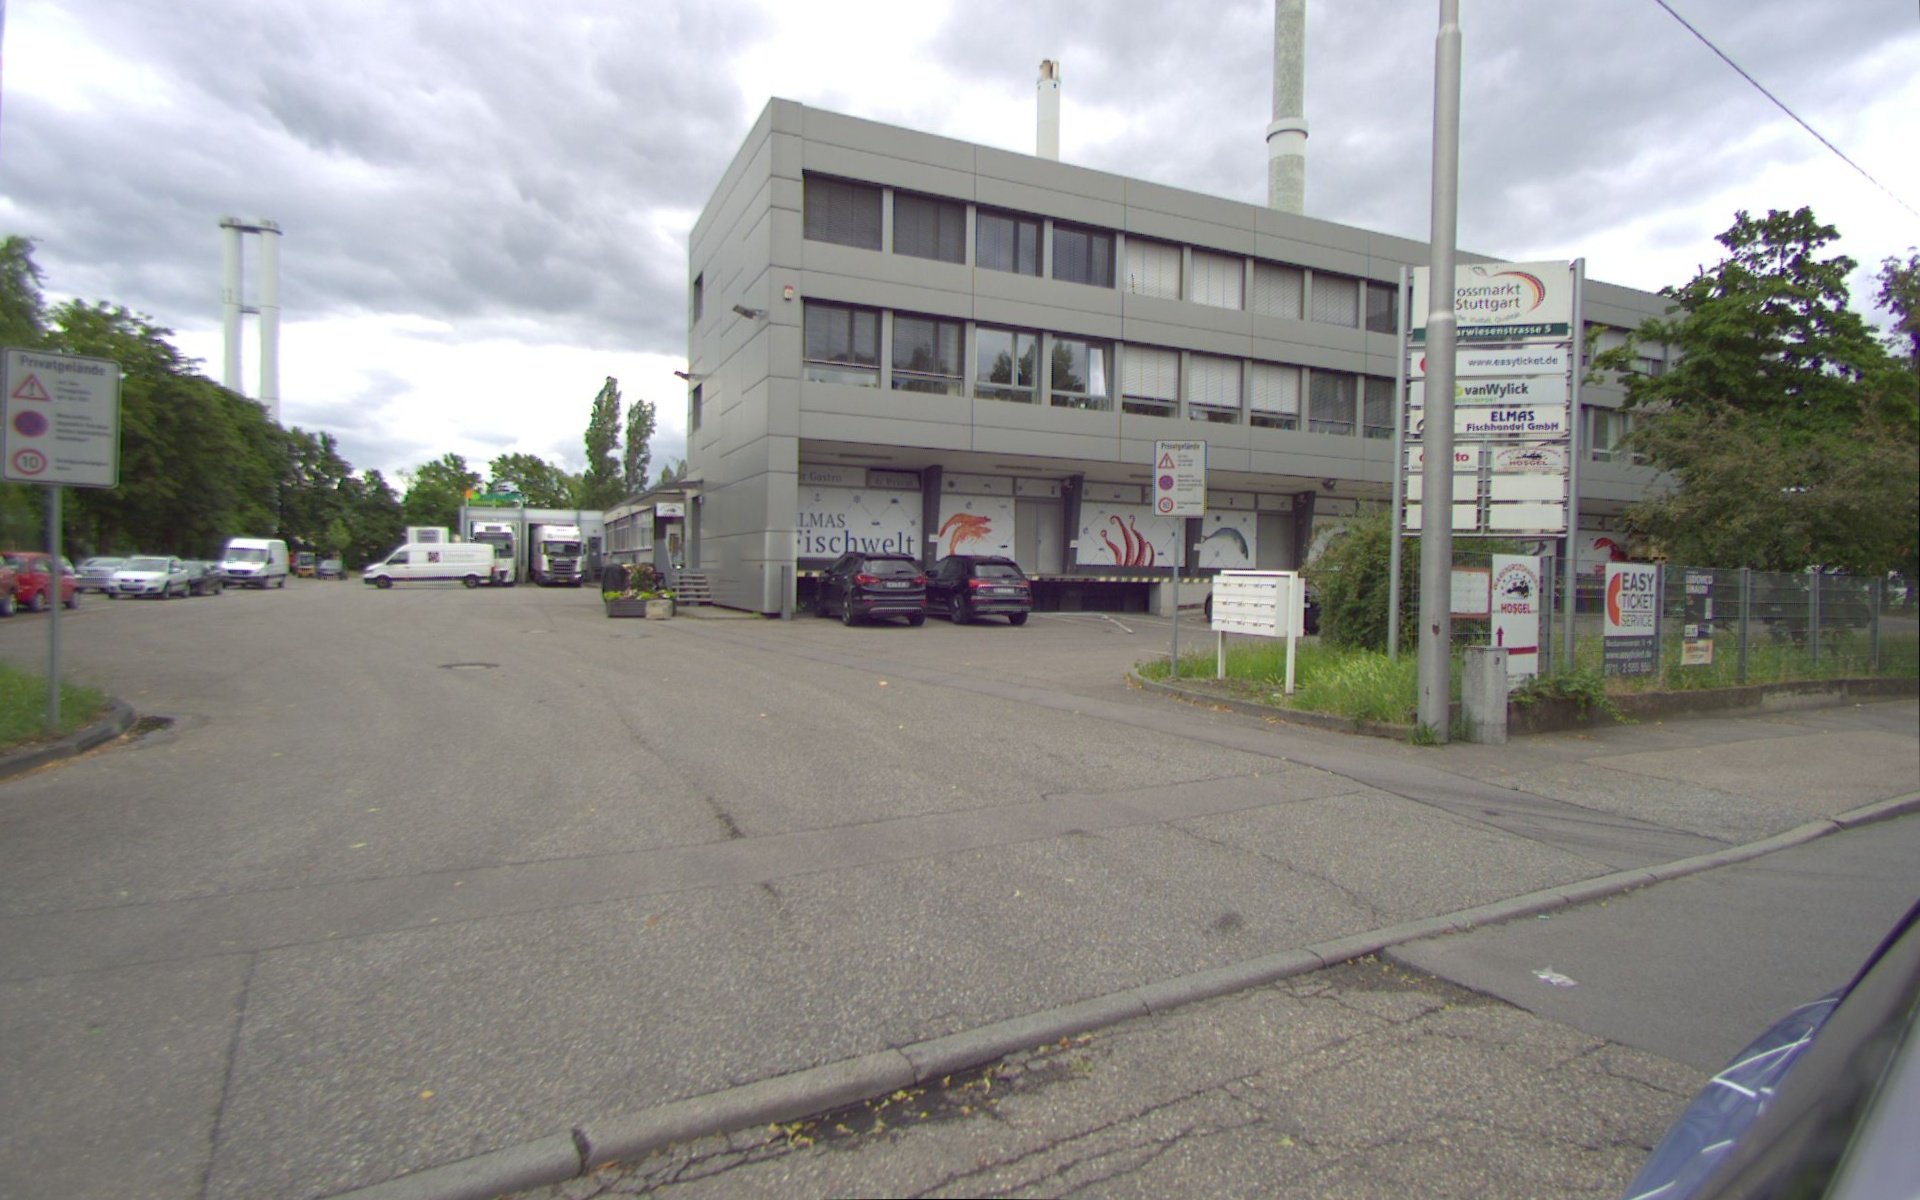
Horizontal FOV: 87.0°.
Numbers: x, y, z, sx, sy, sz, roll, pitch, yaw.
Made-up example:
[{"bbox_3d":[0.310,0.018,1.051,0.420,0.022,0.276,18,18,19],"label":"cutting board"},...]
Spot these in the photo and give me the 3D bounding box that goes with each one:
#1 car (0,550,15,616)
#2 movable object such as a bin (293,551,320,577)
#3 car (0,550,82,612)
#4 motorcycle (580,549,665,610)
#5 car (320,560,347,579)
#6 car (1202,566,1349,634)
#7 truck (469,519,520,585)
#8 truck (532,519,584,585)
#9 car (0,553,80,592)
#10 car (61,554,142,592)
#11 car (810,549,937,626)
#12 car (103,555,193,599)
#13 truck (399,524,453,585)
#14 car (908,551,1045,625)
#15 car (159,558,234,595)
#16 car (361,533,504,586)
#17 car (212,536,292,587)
[{"bbox_3d":[-23.337,-0.384,23.132,1.603,1.586,3.568,0,2,-27],"label":"car"},{"bbox_3d":[-55.110,-3.034,85.269,1.765,2.038,5.938,0,2,-35],"label":"movable object such as a bin"},{"bbox_3d":[-25.685,-0.555,27.677,1.564,1.615,3.796,0,2,-26],"label":"car"},{"bbox_3d":[-9.923,-0.610,29.902,1.177,1.675,2.887,1,1,9],"label":"motorcycle"},{"bbox_3d":[-49.850,-2.406,80.557,1.565,1.458,3.666,0,2,-28],"label":"car"},{"bbox_3d":[8.287,-0.078,27.126,2.010,1.462,4.837,1,4,-5],"label":"car"},{"bbox_3d":[-31.820,-3.173,69.034,2.793,3.982,15.759,1,2,-25],"label":"truck"},{"bbox_3d":[-28.289,-3.285,70.792,2.813,4.075,15.884,1,2,-24],"label":"truck"},{"bbox_3d":[-36.604,-1.104,40.170,1.564,1.458,3.668,0,2,-25],"label":"car"},{"bbox_3d":[-34.637,-1.099,40.943,1.564,1.458,3.668,0,2,-25],"label":"car"},{"bbox_3d":[-2.195,-0.364,24.422,1.800,1.637,4.476,1,3,-22],"label":"car"},{"bbox_3d":[-30.021,-0.885,37.535,1.564,1.531,3.814,1,2,-22],"label":"car"},{"bbox_3d":[-39.733,-3.368,75.520,2.937,4.217,9.208,0,2,-24],"label":"truck"},{"bbox_3d":[0.304,-0.371,25.584,1.800,1.637,4.434,1,3,-23],"label":"car"},{"bbox_3d":[-31.681,-0.999,42.063,1.564,1.458,3.668,1,2,-22],"label":"car"},{"bbox_3d":[-29.704,-2.239,57.269,7.005,2.766,2.248,0,1,-24],"label":"car"},{"bbox_3d":[-37.423,-2.013,53.685,2.262,2.510,6.940,0,2,-25],"label":"car"}]
